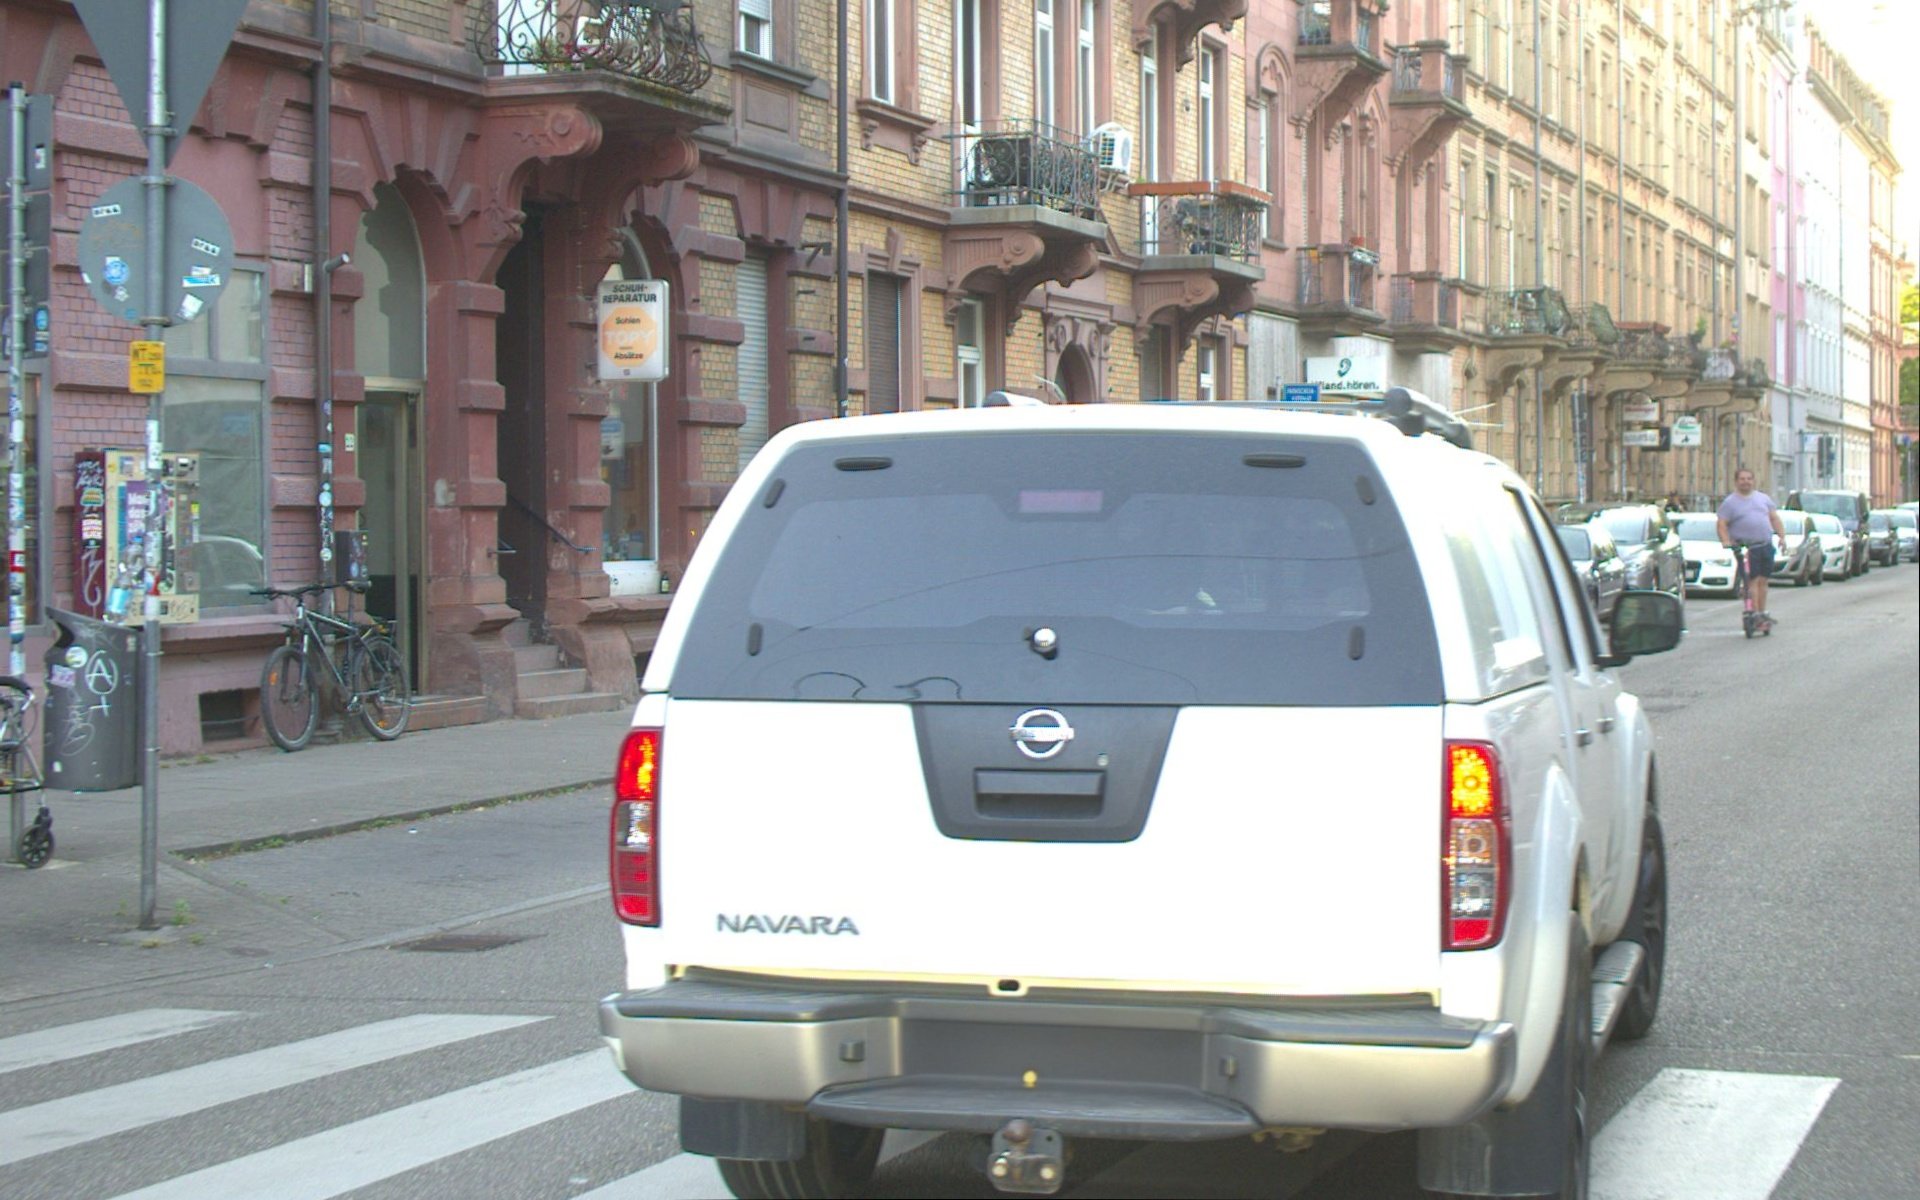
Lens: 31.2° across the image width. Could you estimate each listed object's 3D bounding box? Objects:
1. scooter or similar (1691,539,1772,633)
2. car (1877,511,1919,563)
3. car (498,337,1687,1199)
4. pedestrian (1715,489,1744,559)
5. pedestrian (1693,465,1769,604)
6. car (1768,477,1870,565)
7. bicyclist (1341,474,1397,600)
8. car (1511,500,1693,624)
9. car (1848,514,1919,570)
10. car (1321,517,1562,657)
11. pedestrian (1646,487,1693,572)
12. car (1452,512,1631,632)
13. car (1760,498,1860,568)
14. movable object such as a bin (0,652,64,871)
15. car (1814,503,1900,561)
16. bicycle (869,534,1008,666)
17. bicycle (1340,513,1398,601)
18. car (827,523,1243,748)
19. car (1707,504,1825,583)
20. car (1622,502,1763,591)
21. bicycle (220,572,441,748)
[{"bbox_3d":[9.309,-0.177,41.470,0.808,1.100,1.171,-1,2,20],"label":"scooter or similar"},{"bbox_3d":[29.335,-1.957,106.248,1.637,1.560,3.778,1,2,19],"label":"car"},{"bbox_3d":[0.728,0.408,8.627,1.912,1.847,5.267,1,1,14],"label":"car"},{"bbox_3d":[19.842,-1.963,88.648,0.580,1.765,0.997,3,3,16],"label":"pedestrian"},{"bbox_3d":[9.298,-0.793,41.456,0.808,1.654,0.672,-1,1,20],"label":"pedestrian"},{"bbox_3d":[20.013,-1.856,79.985,1.995,1.917,4.947,2,2,17],"label":"car"},{"bbox_3d":[5.697,-0.877,47.929,0.708,1.723,0.843,1,0,4],"label":"bicyclist"},{"bbox_3d":[9.203,-0.583,49.017,1.855,1.628,4.442,1,2,20],"label":"car"},{"bbox_3d":[26.252,-1.658,97.044,1.836,1.453,4.202,3,2,20],"label":"car"},{"bbox_3d":[5.382,-0.186,37.975,1.724,1.415,4.577,2,2,19],"label":"car"},{"bbox_3d":[14.633,-1.450,70.909,0.555,1.749,1.020,1,1,37],"label":"pedestrian"},{"bbox_3d":[7.469,-0.389,43.944,1.586,1.415,3.693,1,2,20],"label":"car"},{"bbox_3d":[18.556,-1.479,74.936,1.785,1.418,4.482,2,2,18],"label":"car"},{"bbox_3d":[-4.408,0.689,14.866,0.762,0.912,0.729,1,1,16],"label":"movable object such as a bin"},{"bbox_3d":[23.141,-1.750,88.562,1.738,1.413,4.774,2,1,19],"label":"car"},{"bbox_3d":[-0.187,-0.023,32.529,0.528,1.167,2.045,3,3,23],"label":"bicycle"},{"bbox_3d":[5.693,-0.600,47.904,0.708,1.192,1.741,1,1,4],"label":"bicycle"},{"bbox_3d":[0.621,0.188,24.600,1.695,1.415,3.850,1,2,22],"label":"car"},{"bbox_3d":[15.900,-1.146,67.719,1.719,1.452,3.996,2,2,21],"label":"car"},{"bbox_3d":[12.583,-0.948,58.877,1.760,1.407,4.504,1,2,20],"label":"car"},{"bbox_3d":[-4.025,0.363,22.109,0.426,1.049,1.896,1,2,23],"label":"bicycle"}]
